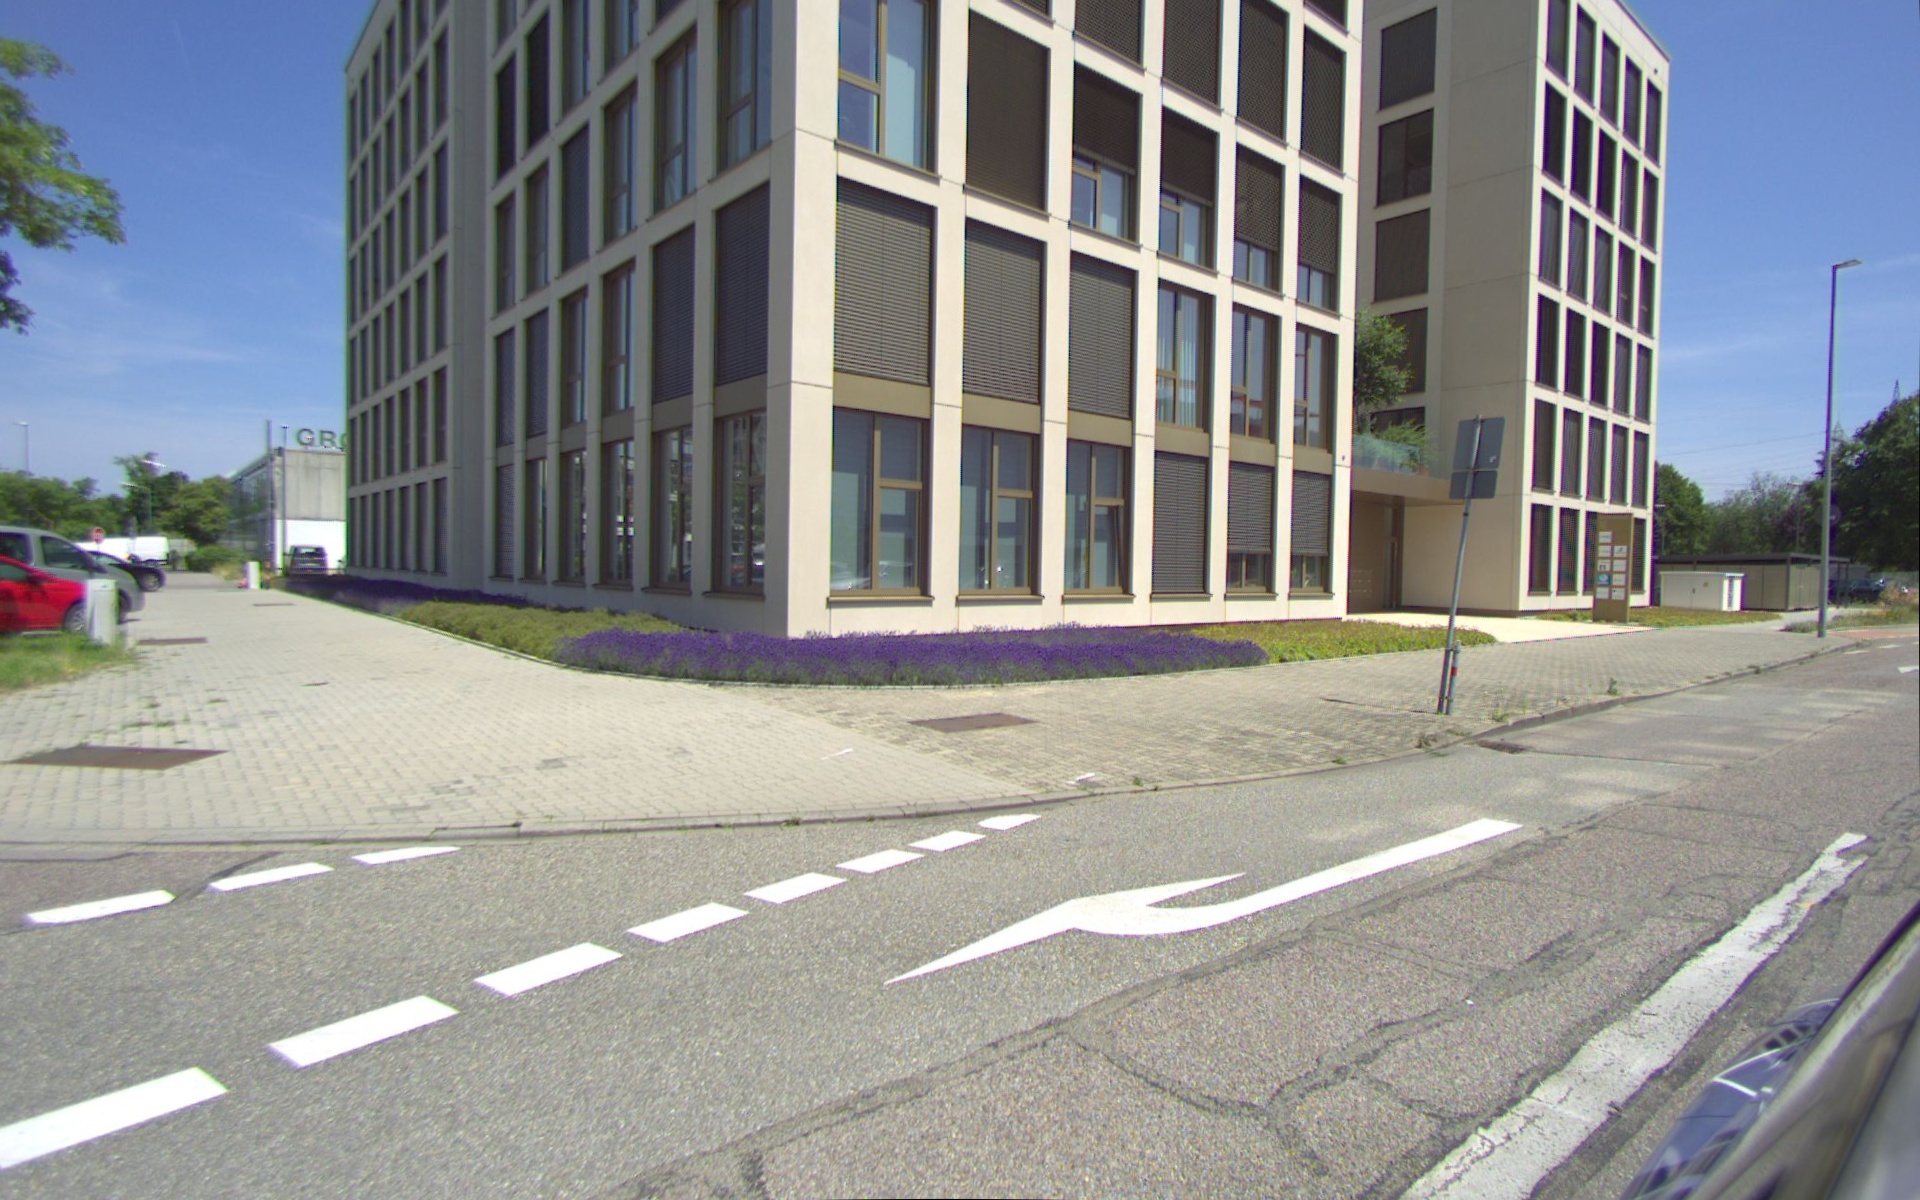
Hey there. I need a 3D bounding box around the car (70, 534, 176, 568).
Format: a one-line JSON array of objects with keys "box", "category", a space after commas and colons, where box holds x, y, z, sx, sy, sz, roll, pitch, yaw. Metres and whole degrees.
[{"box": [-67.522, -3.935, 81.822, 6.573, 2.552, 2.217, -1, 0, -38], "category": "car"}]

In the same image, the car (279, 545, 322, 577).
[{"box": [-38.096, -2.230, 58.422, 1.763, 1.749, 3.997, 0, 0, -38], "category": "car"}]

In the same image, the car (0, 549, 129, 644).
[{"box": [-15.471, -0.070, 15.596, 1.672, 1.449, 3.990, 1, 3, 10], "category": "car"}]

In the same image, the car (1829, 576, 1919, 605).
[{"box": [53.739, -0.575, 59.484, 3.810, 1.571, 1.716, 2, 2, 36], "category": "car"}]

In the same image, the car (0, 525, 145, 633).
[{"box": [-17.915, -0.401, 18.468, 1.886, 1.910, 4.927, 1, 1, 5], "category": "car"}]

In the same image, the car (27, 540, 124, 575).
[{"box": [-55.163, -2.618, 63.224, 4.495, 2.039, 1.997, -1, 0, -40], "category": "car"}]

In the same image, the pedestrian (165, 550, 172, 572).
[{"box": [-56.573, -2.770, 72.356, 0.397, 1.579, 0.549, 0, 2, -39], "category": "pedestrian"}]

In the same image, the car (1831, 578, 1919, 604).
[{"box": [55.049, -0.557, 60.915, 3.810, 1.411, 1.716, 2, 2, 36], "category": "car"}]
